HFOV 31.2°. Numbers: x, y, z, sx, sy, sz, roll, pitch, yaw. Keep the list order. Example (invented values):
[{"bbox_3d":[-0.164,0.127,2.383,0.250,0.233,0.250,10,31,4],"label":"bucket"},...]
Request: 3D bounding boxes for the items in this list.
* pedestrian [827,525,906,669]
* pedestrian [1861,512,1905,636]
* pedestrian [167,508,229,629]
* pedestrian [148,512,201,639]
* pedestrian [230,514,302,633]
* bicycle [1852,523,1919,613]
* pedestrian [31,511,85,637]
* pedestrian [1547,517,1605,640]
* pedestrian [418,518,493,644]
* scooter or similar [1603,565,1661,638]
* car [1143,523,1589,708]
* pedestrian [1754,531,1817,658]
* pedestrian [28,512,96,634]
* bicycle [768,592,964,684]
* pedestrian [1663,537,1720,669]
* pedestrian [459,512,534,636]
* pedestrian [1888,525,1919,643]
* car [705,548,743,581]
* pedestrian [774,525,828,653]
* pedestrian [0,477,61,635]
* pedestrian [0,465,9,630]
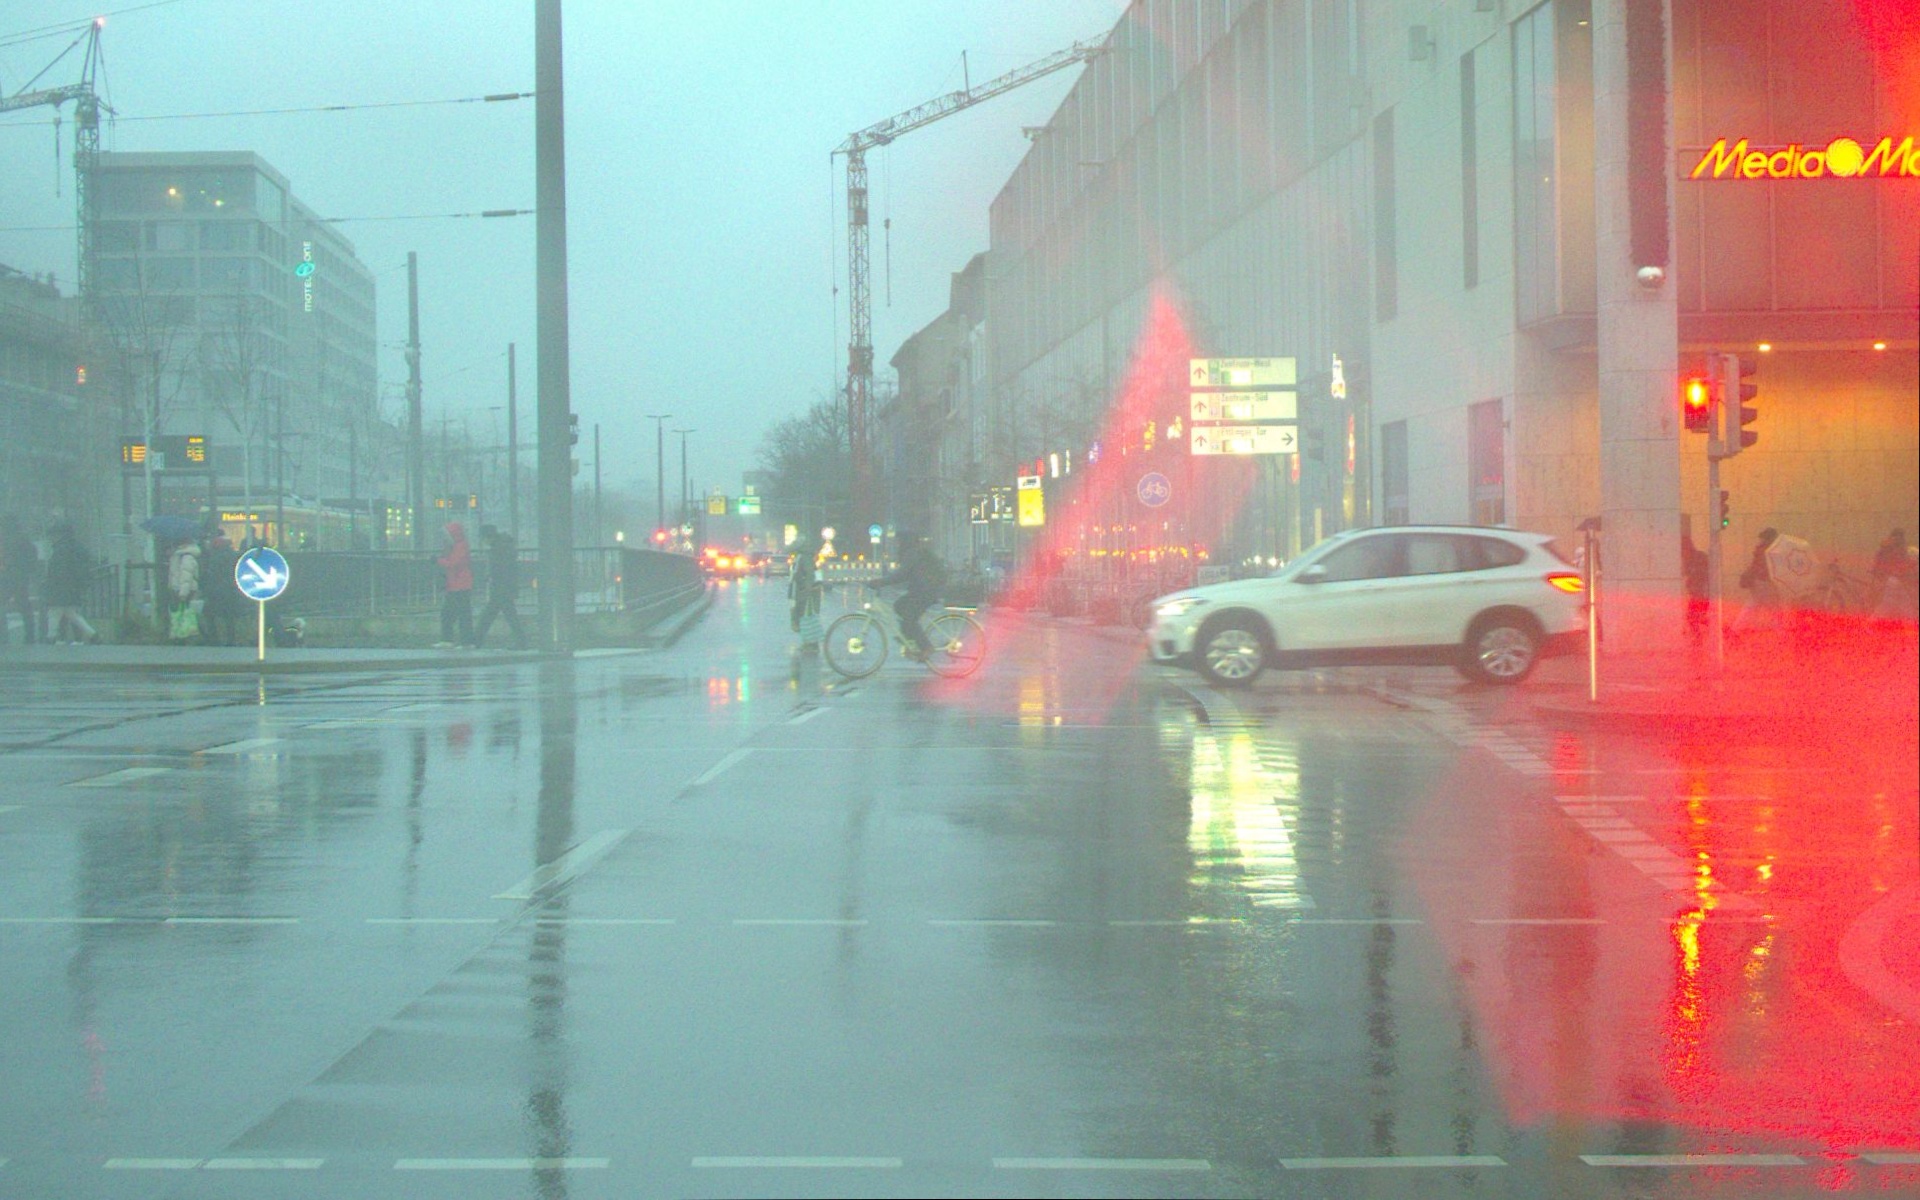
[{"bbox_3d":[-1.032,-0.037,37.806,0.814,1.564,0.536,-1,1,-4],"label":"pedestrian"},{"bbox_3d":[13.196,-0.374,49.147,0.512,1.754,0.374,-1,1,-1],"label":"pedestrian"},{"bbox_3d":[-10.306,-0.426,46.505,0.706,1.613,0.613,-1,1,-3],"label":"pedestrian"},{"bbox_3d":[-10.941,-0.344,47.904,0.619,1.740,0.613,-1,1,-6],"label":"pedestrian"},{"bbox_3d":[-9.466,-0.365,46.903,0.809,1.602,0.745,-1,1,-1],"label":"pedestrian"},{"bbox_3d":[14.542,-0.489,51.087,2.424,1.325,0.635,-1,1,-5],"label":"bicycle"},{"bbox_3d":[-12.556,-0.366,47.869,0.619,1.740,0.613,-1,1,-6],"label":"pedestrian"},{"bbox_3d":[8.455,-0.295,47.184,0.741,1.661,0.400,-1,1,7],"label":"pedestrian"},{"bbox_3d":[-6.803,-0.255,46.401,0.831,1.673,0.619,-1,1,8],"label":"pedestrian"},{"bbox_3d":[9.209,0.016,47.097,0.741,0.990,0.400,-1,1,7],"label":"scooter or similar"},{"bbox_3d":[4.018,0.139,34.522,4.303,1.755,1.707,-1,1,3],"label":"car"},{"bbox_3d":[11.559,-0.076,48.143,0.702,1.754,0.667,-1,1,-1],"label":"pedestrian"},{"bbox_3d":[-12.078,-0.363,46.243,0.706,1.613,0.680,-1,1,1],"label":"pedestrian"},{"bbox_3d":[-1.044,0.415,37.823,2.128,0.988,0.541,1,0,-3],"label":"bicycle"},{"bbox_3d":[9.900,0.042,46.513,0.633,1.766,0.484,-1,1,-2],"label":"pedestrian"},{"bbox_3d":[-6.371,-0.359,47.283,0.843,1.682,0.677,-1,1,9],"label":"pedestrian"},{"bbox_3d":[13.889,-0.234,50.084,0.536,1.712,0.501,0,1,37],"label":"pedestrian"},{"bbox_3d":[-13.170,-1.963,191.975,1.888,1.777,3.714,1,0,-1],"label":"car"},{"bbox_3d":[-2.204,-0.152,47.819,0.703,1.754,0.652,-1,1,-1],"label":"pedestrian"},{"bbox_3d":[-12.076,-0.568,44.200,0.775,2.007,0.613,-1,1,-39],"label":"pedestrian"},{"bbox_3d":[-12.501,-0.658,43.491,0.686,2.080,0.613,-1,1,-40],"label":"pedestrian"}]
